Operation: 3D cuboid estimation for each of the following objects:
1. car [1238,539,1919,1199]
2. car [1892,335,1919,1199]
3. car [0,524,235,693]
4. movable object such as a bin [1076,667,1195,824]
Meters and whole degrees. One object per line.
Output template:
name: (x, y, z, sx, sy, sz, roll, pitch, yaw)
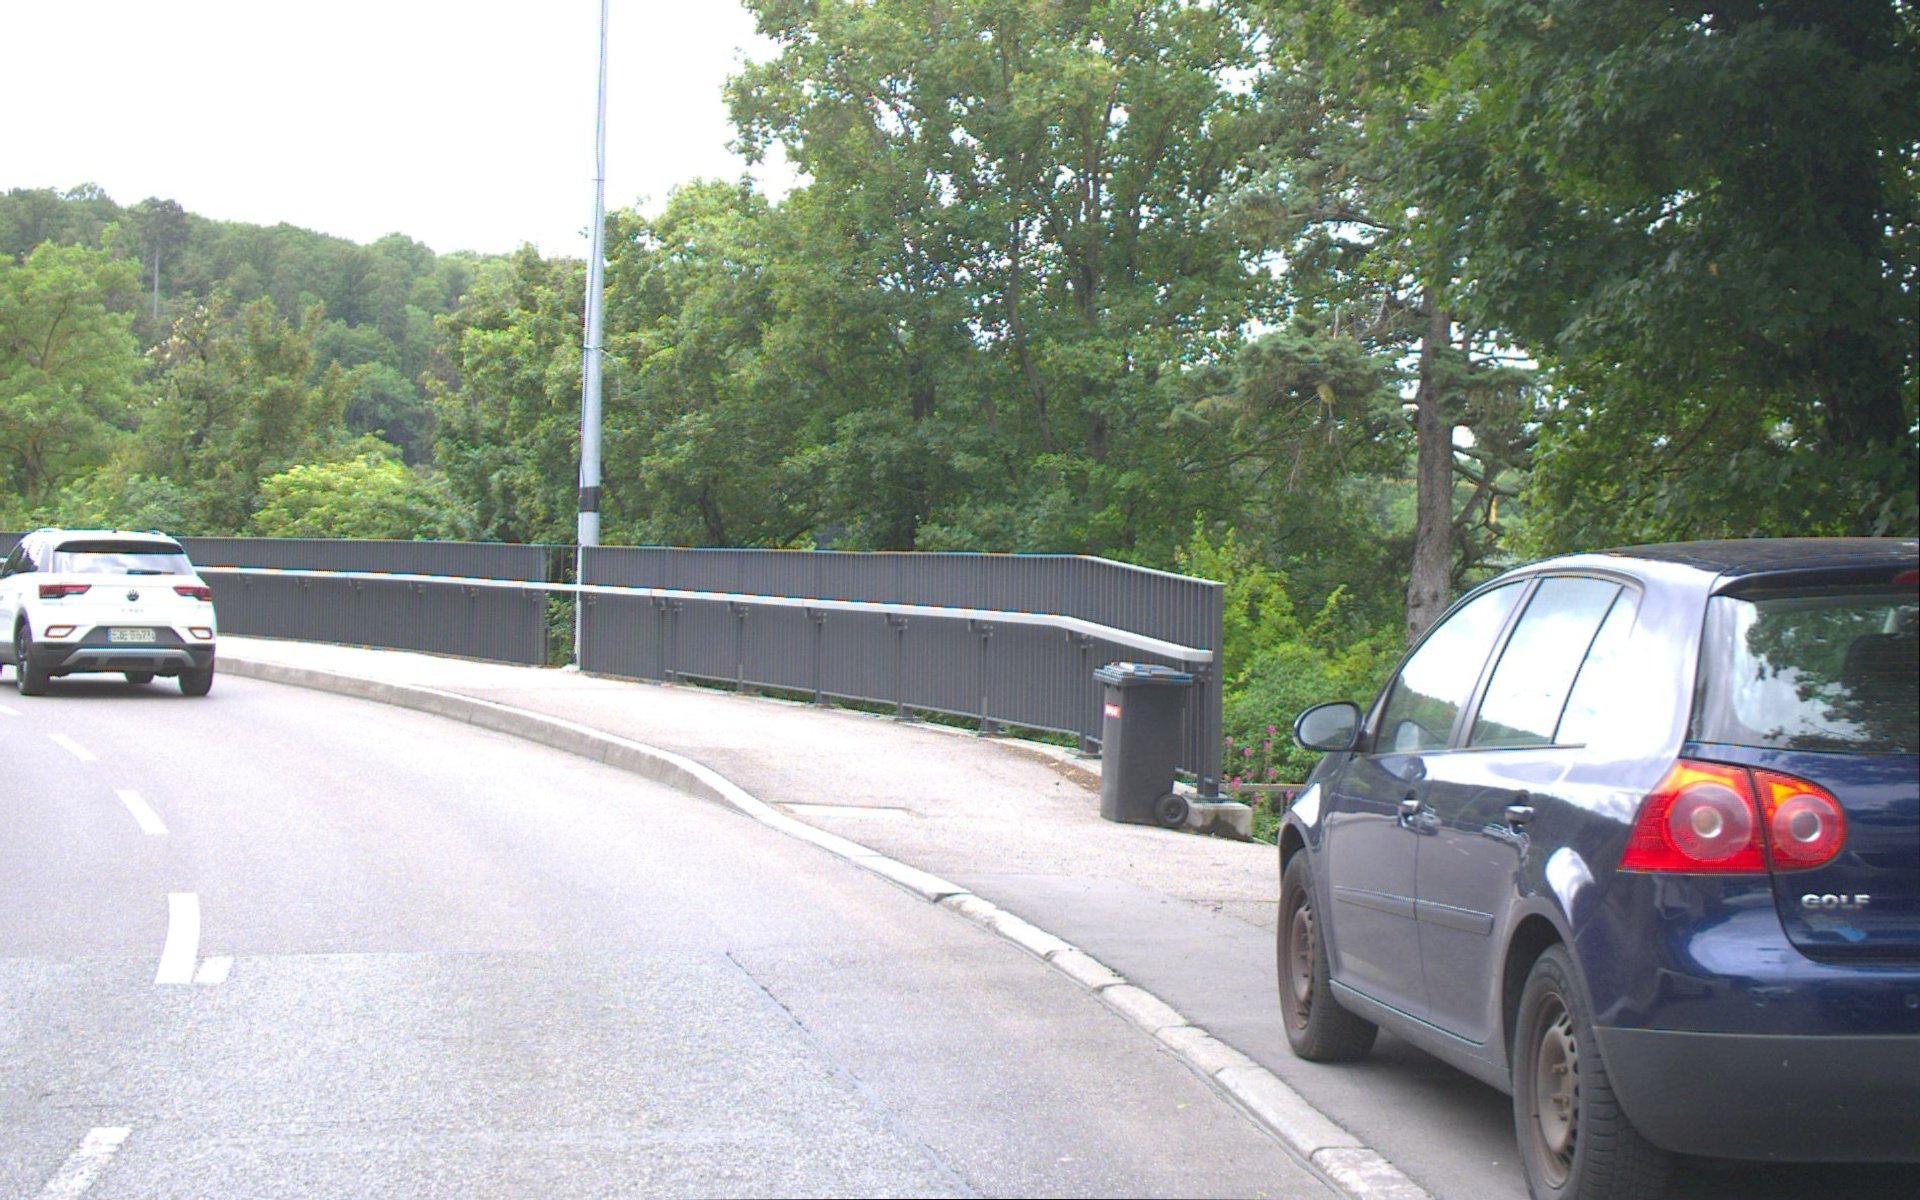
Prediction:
car: (1.902, 0.618, 8.449, 1.659, 1.482, 4.036, 1, 1, -6)
car: (2.466, 0.567, 2.778, 1.798, 1.766, 4.608, 1, 1, -5)
car: (-8.448, 0.054, 33.394, 1.866, 1.531, 3.804, 1, 1, -26)
movable object such as a bin: (1.030, 0.854, 20.274, 0.520, 0.878, 0.532, 3, 1, -15)
